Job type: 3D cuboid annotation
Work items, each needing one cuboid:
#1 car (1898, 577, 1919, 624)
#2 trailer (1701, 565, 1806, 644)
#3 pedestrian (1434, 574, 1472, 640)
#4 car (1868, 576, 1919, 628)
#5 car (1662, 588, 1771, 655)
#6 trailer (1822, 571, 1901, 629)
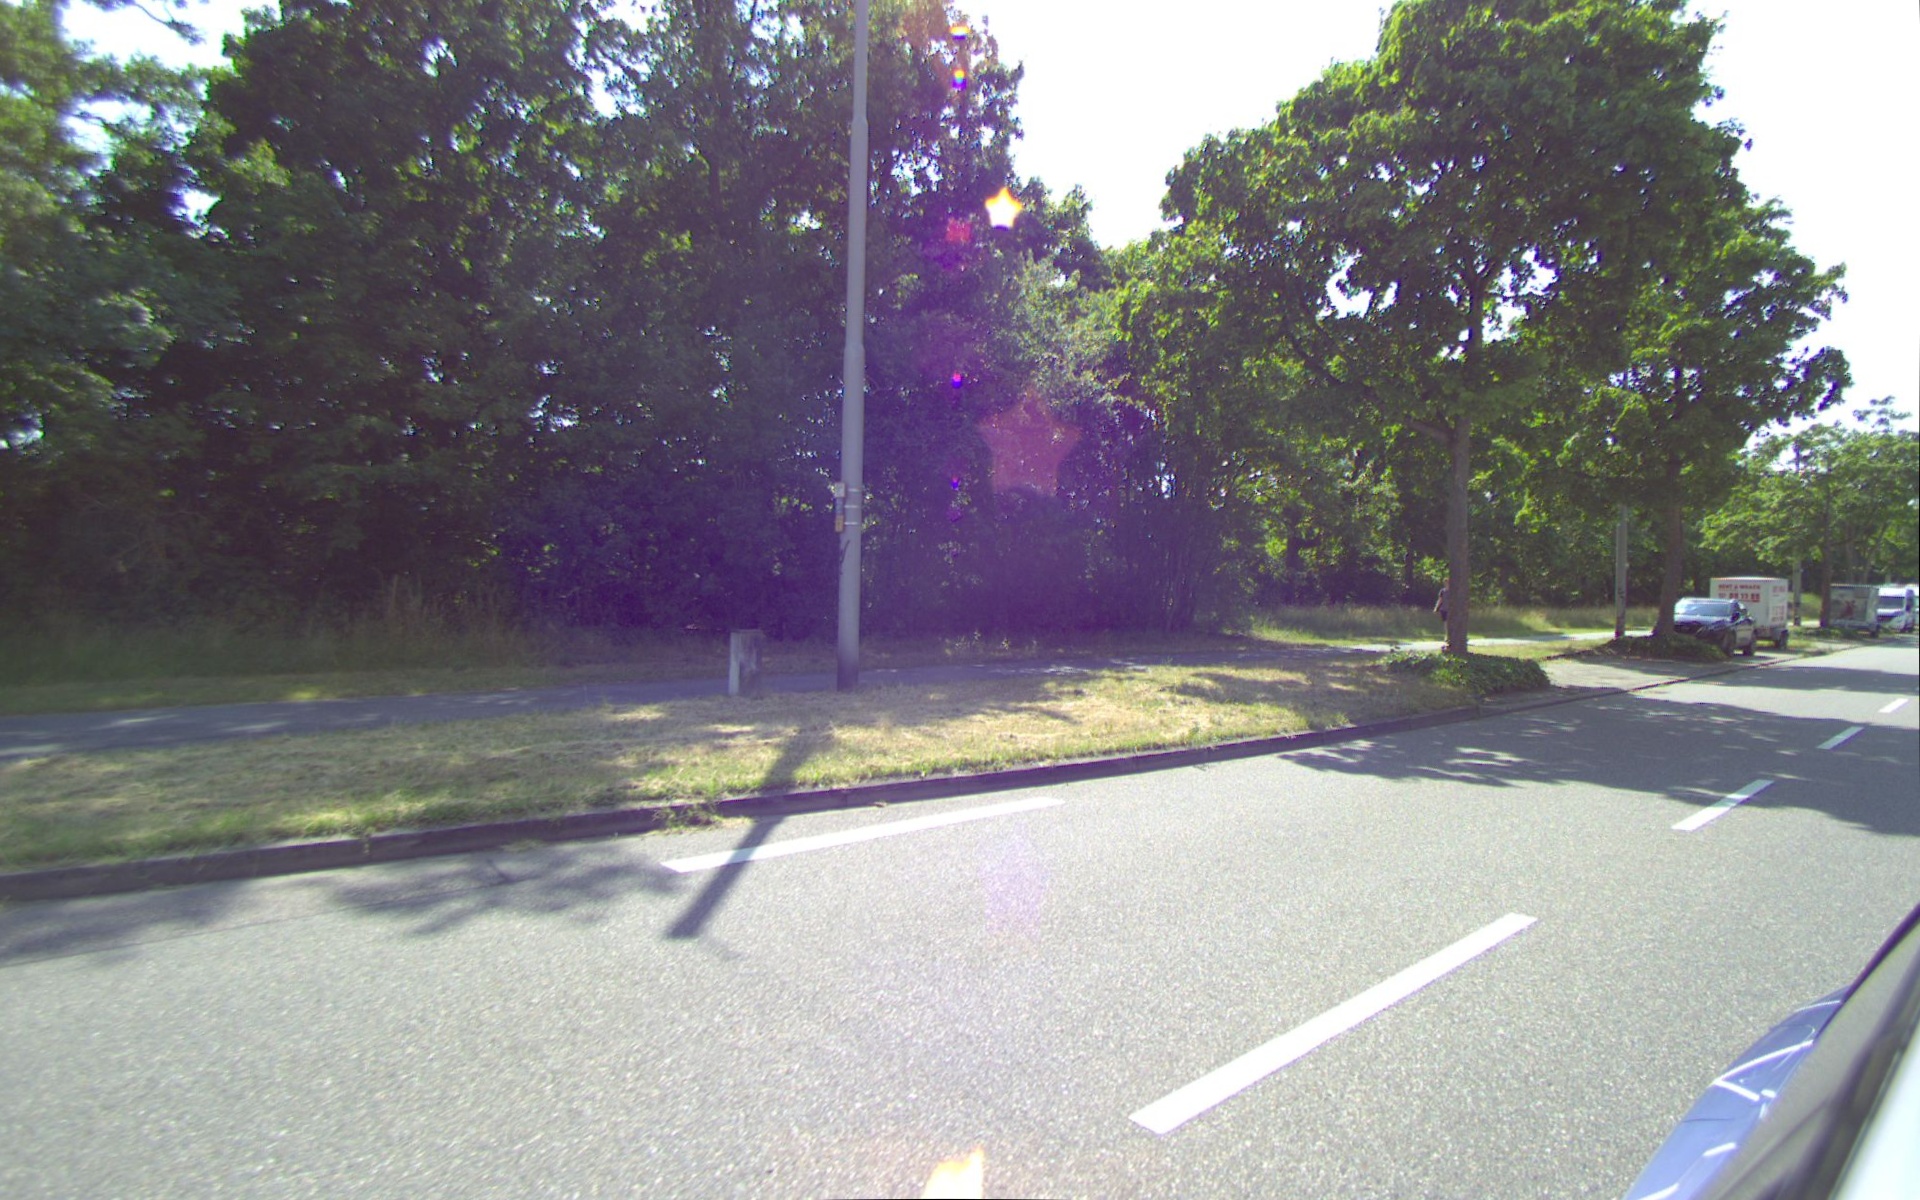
[{"bbox_3d":[61.987,0.014,64.704,6.652,2.836,2.261,-1,4,-42],"label":"car"},{"bbox_3d":[26.192,0.096,33.345,4.528,2.380,1.955,0,3,-43],"label":"trailer"},{"bbox_3d":[13.816,0.188,28.374,0.727,1.816,0.718,0,-1,-42],"label":"pedestrian"},{"bbox_3d":[52.067,0.083,55.932,6.046,2.729,2.178,-1,0,-42],"label":"car"},{"bbox_3d":[21.670,0.553,28.936,4.286,1.711,1.594,-1,2,-41],"label":"car"},{"bbox_3d":[41.658,-0.061,46.743,4.699,2.393,1.999,-1,6,-41],"label":"trailer"}]
